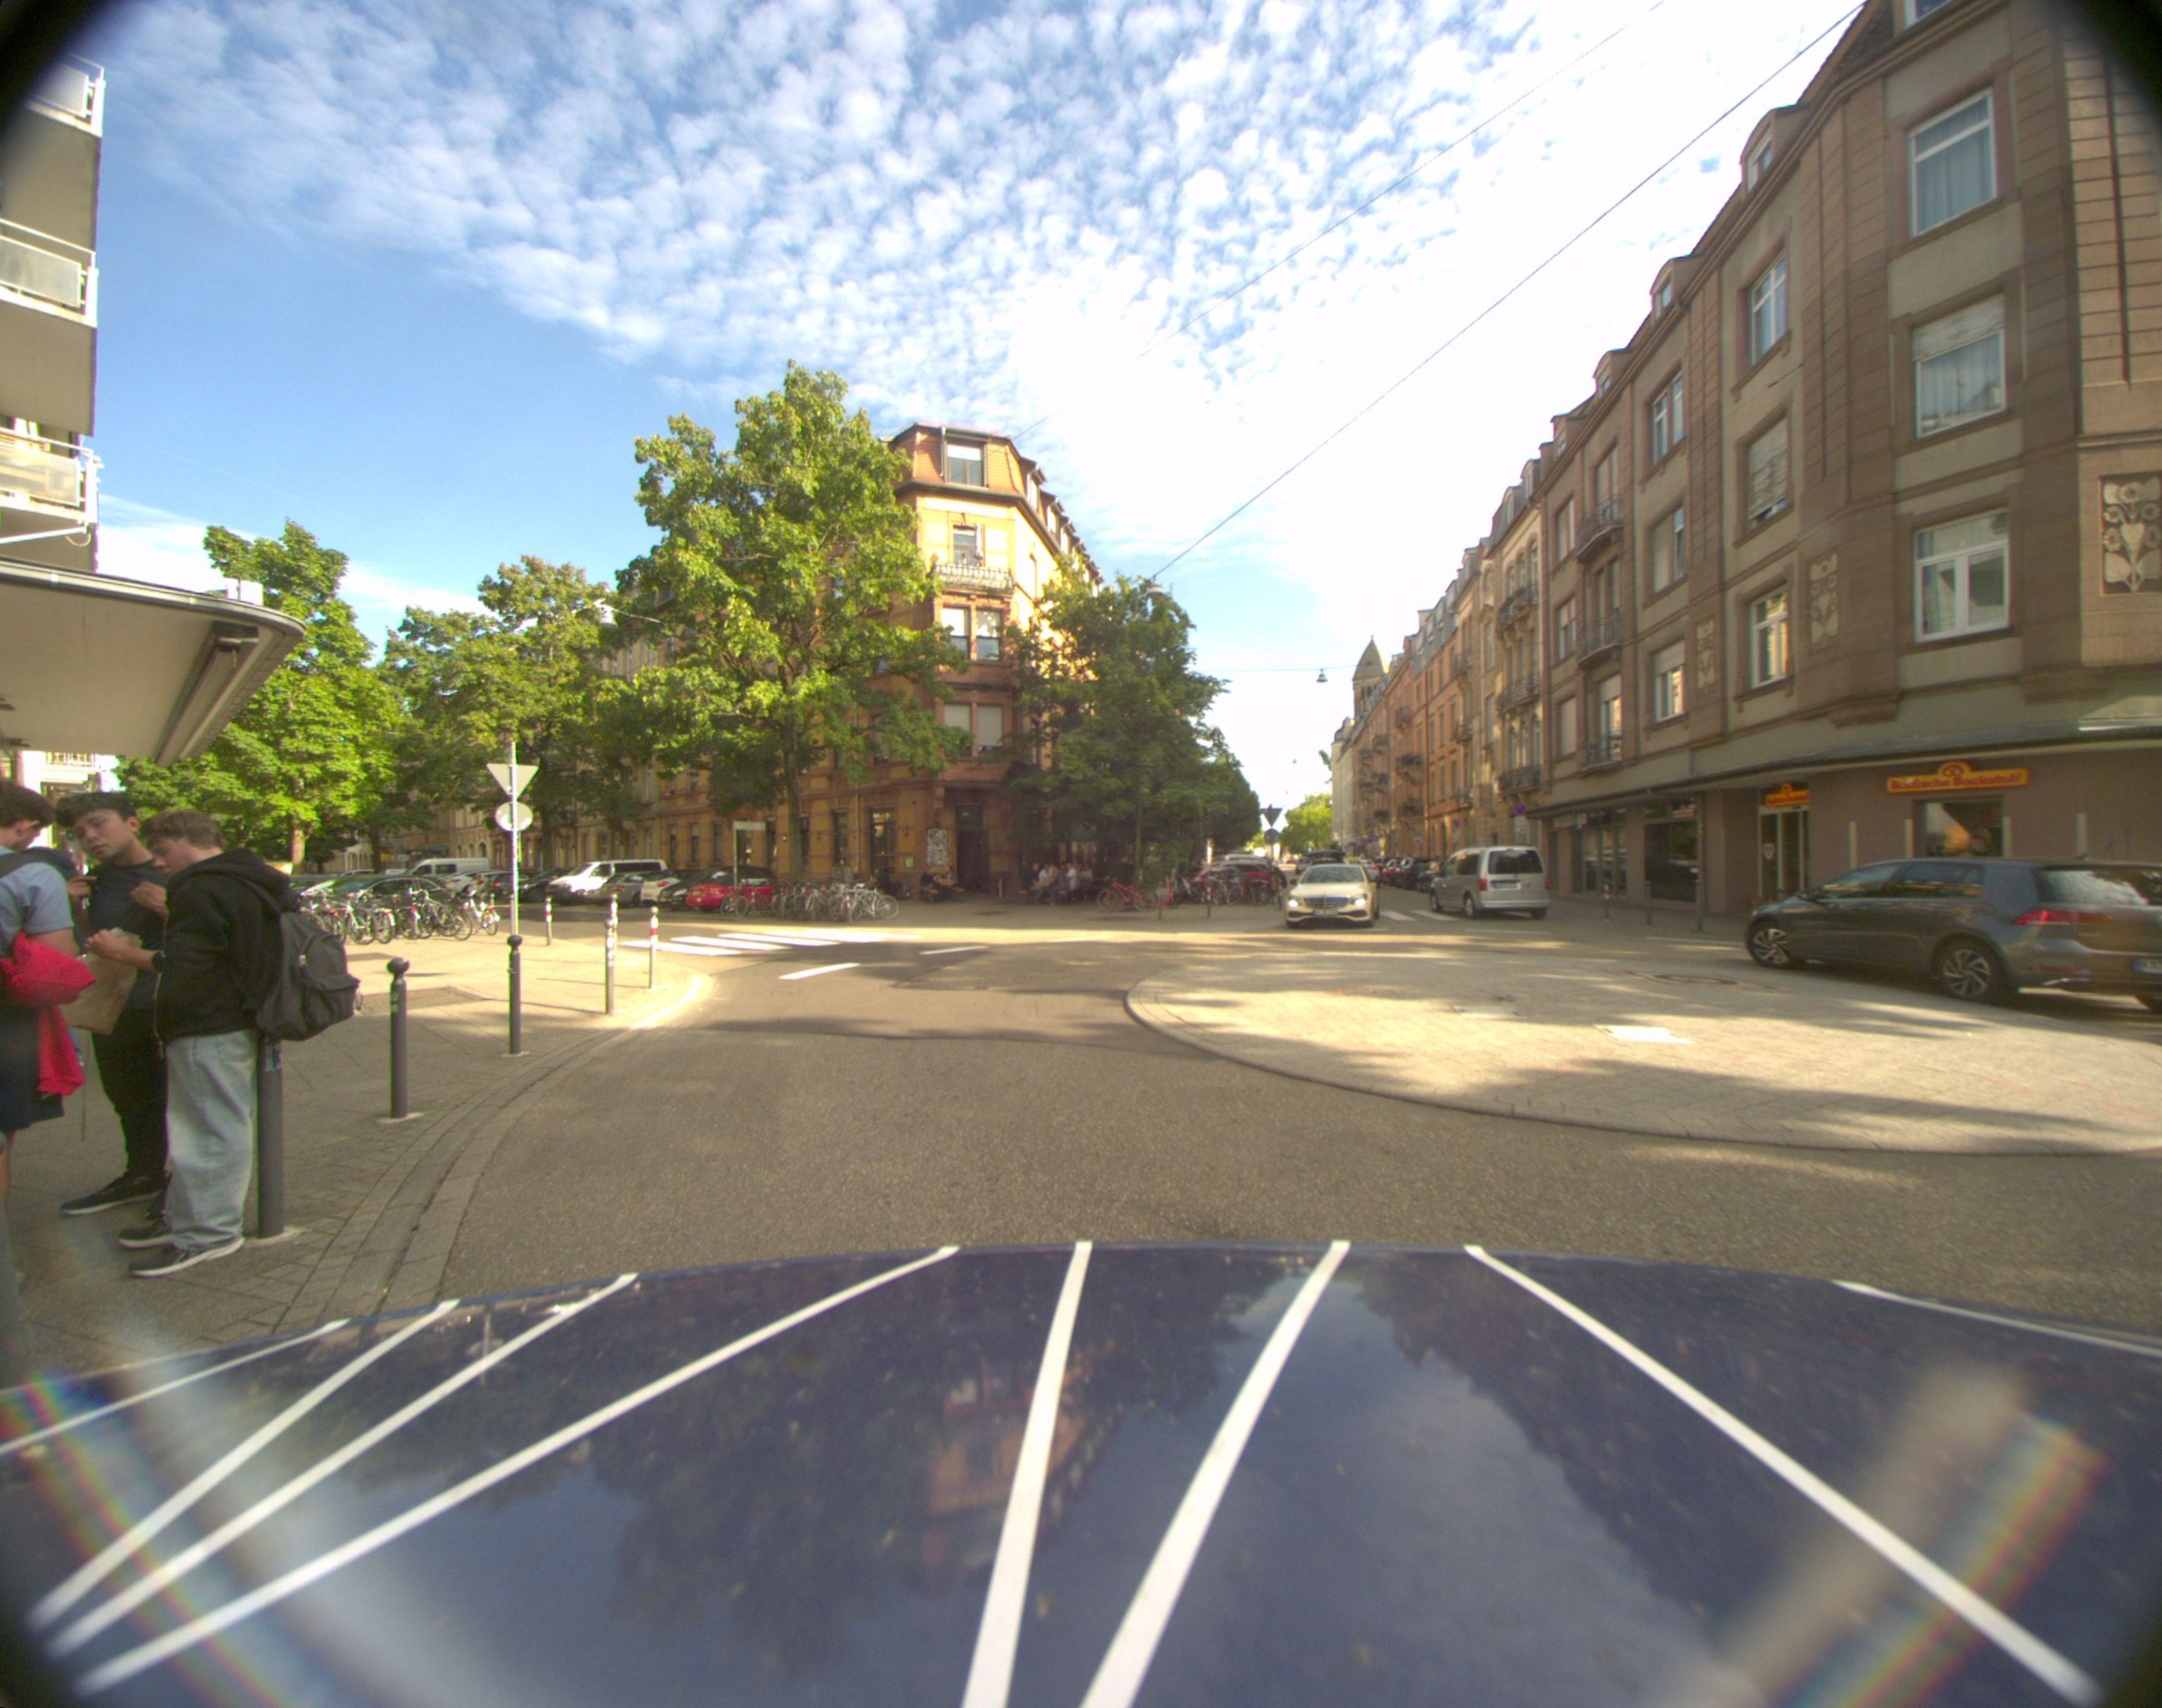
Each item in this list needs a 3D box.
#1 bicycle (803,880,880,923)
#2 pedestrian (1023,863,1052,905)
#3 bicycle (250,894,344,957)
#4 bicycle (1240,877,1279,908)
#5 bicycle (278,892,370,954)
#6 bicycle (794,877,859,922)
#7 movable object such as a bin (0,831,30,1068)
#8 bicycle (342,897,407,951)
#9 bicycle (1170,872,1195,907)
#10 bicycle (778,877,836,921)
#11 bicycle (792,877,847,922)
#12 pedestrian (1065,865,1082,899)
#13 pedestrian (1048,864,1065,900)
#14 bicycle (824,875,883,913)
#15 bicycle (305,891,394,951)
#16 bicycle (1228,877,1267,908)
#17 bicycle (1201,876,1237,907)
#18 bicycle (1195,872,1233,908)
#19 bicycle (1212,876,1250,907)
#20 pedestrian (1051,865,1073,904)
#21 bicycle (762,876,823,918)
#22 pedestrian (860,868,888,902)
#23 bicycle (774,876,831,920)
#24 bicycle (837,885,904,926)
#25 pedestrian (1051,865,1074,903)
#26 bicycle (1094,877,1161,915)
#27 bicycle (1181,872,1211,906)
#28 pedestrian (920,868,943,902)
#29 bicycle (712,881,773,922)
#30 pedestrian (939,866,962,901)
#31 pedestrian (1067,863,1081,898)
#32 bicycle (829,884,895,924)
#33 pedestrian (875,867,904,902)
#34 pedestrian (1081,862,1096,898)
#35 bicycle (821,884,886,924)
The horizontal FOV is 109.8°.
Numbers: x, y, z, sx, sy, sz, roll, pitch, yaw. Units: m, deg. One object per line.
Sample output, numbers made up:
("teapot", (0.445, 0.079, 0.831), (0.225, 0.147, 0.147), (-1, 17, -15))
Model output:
("bicycle", (-6.849, 1.341, 21.803), (2.049, 1.082, 0.447), (-2, 2, -38))
("pedestrian", (-1.494, 1.017, 26.006), (0.671, 1.371, 0.715), (-2, 1, -41))
("bicycle", (-14.426, 1.294, 13.981), (1.695, 1.079, 0.422), (1, 0, 15))
("bicycle", (6.291, 1.356, 26.879), (0.472, 0.979, 1.862), (1, 0, -17))
("bicycle", (-14.262, 1.286, 14.316), (1.695, 1.079, 0.422), (1, 0, 15))
("bicycle", (-7.383, 1.307, 22.114), (1.715, 1.195, 0.447), (-2, 2, -38))
("movable object such as a bin", (-8.720, 0.704, 5.852), (1.545, 1.744, 0.692), (-1, -2, 36))
("bicycle", (-14.070, 1.378, 15.126), (1.498, 1.012, 0.414), (-1, -1, 25))
("bicycle", (3.495, 1.206, 26.293), (0.434, 1.094, 1.674), (1, 0, -6))
("bicycle", (-8.272, 1.331, 23.001), (0.447, 1.195, 1.715), (0, 2, 31))
("bicycle", (-7.799, 1.325, 22.707), (0.447, 1.195, 1.715), (0, 2, 25))
("pedestrian", (-0.272, 1.042, 28.303), (0.548, 1.225, 0.621), (0, 1, -10))
("pedestrian", (-0.917, 1.022, 28.257), (0.548, 1.293, 0.621), (0, 1, -10))
("bicycle", (-7.515, 1.300, 25.173), (0.598, 1.108, 1.803), (1, 2, 43))
("bicycle", (-14.207, 1.291, 14.753), (1.695, 1.079, 0.422), (1, 0, 15))
("bicycle", (5.853, 1.330, 26.768), (0.472, 0.979, 1.862), (1, 0, -17))
("bicycle", (4.774, 1.301, 26.441), (0.418, 0.979, 1.836), (1, 0, -17))
("bicycle", (4.527, 1.206, 26.052), (0.475, 1.136, 1.836), (1, 0, -17))
("bicycle", (5.226, 1.303, 26.581), (0.472, 0.979, 1.862), (1, 0, -17))
("pedestrian", (-0.651, 1.051, 25.991), (0.728, 1.307, 0.521), (-1, 0, 2))
("bicycle", (-8.988, 1.325, 23.738), (0.447, 1.195, 1.716), (1, 2, 43))
("pedestrian", (-7.956, 1.188, 29.243), (0.627, 1.278, 0.770), (-1, 2, 37))
("bicycle", (-8.555, 1.333, 23.407), (0.447, 1.195, 1.715), (0, 2, 31))
("bicycle", (-5.779, 1.402, 20.953), (1.715, 0.964, 0.447), (-2, 2, -38))
("pedestrian", (-0.643, 1.061, 26.635), (0.728, 1.307, 0.608), (-1, 0, 2))
("bicycle", (1.355, 1.209, 22.053), (1.853, 1.029, 0.684), (0, 0, 13))
("bicycle", (3.981, 1.206, 26.402), (0.475, 1.094, 1.673), (1, 0, -11))
("pedestrian", (-5.515, 1.134, 28.001), (0.643, 1.218, 0.510), (-3, 3, -44))
("bicycle", (-10.379, 1.429, 23.243), (2.493, 1.090, 0.583), (0, 4, 39))
("pedestrian", (-4.889, 1.100, 28.489), (0.643, 1.252, 0.510), (-3, 3, -44))
("pedestrian", (-0.268, 1.014, 29.285), (0.467, 1.319, 0.621), (0, 1, -10))
("bicycle", (-6.106, 1.392, 21.270), (1.715, 0.981, 0.447), (-2, 2, -38))
("pedestrian", (-7.268, 1.158, 28.834), (0.627, 1.278, 0.770), (-1, 2, 37))
("pedestrian", (0.268, 0.988, 28.882), (0.467, 1.319, 0.621), (0, 1, -10))
("bicycle", (-6.441, 1.395, 21.556), (1.715, 0.981, 0.447), (-2, 2, -38))
